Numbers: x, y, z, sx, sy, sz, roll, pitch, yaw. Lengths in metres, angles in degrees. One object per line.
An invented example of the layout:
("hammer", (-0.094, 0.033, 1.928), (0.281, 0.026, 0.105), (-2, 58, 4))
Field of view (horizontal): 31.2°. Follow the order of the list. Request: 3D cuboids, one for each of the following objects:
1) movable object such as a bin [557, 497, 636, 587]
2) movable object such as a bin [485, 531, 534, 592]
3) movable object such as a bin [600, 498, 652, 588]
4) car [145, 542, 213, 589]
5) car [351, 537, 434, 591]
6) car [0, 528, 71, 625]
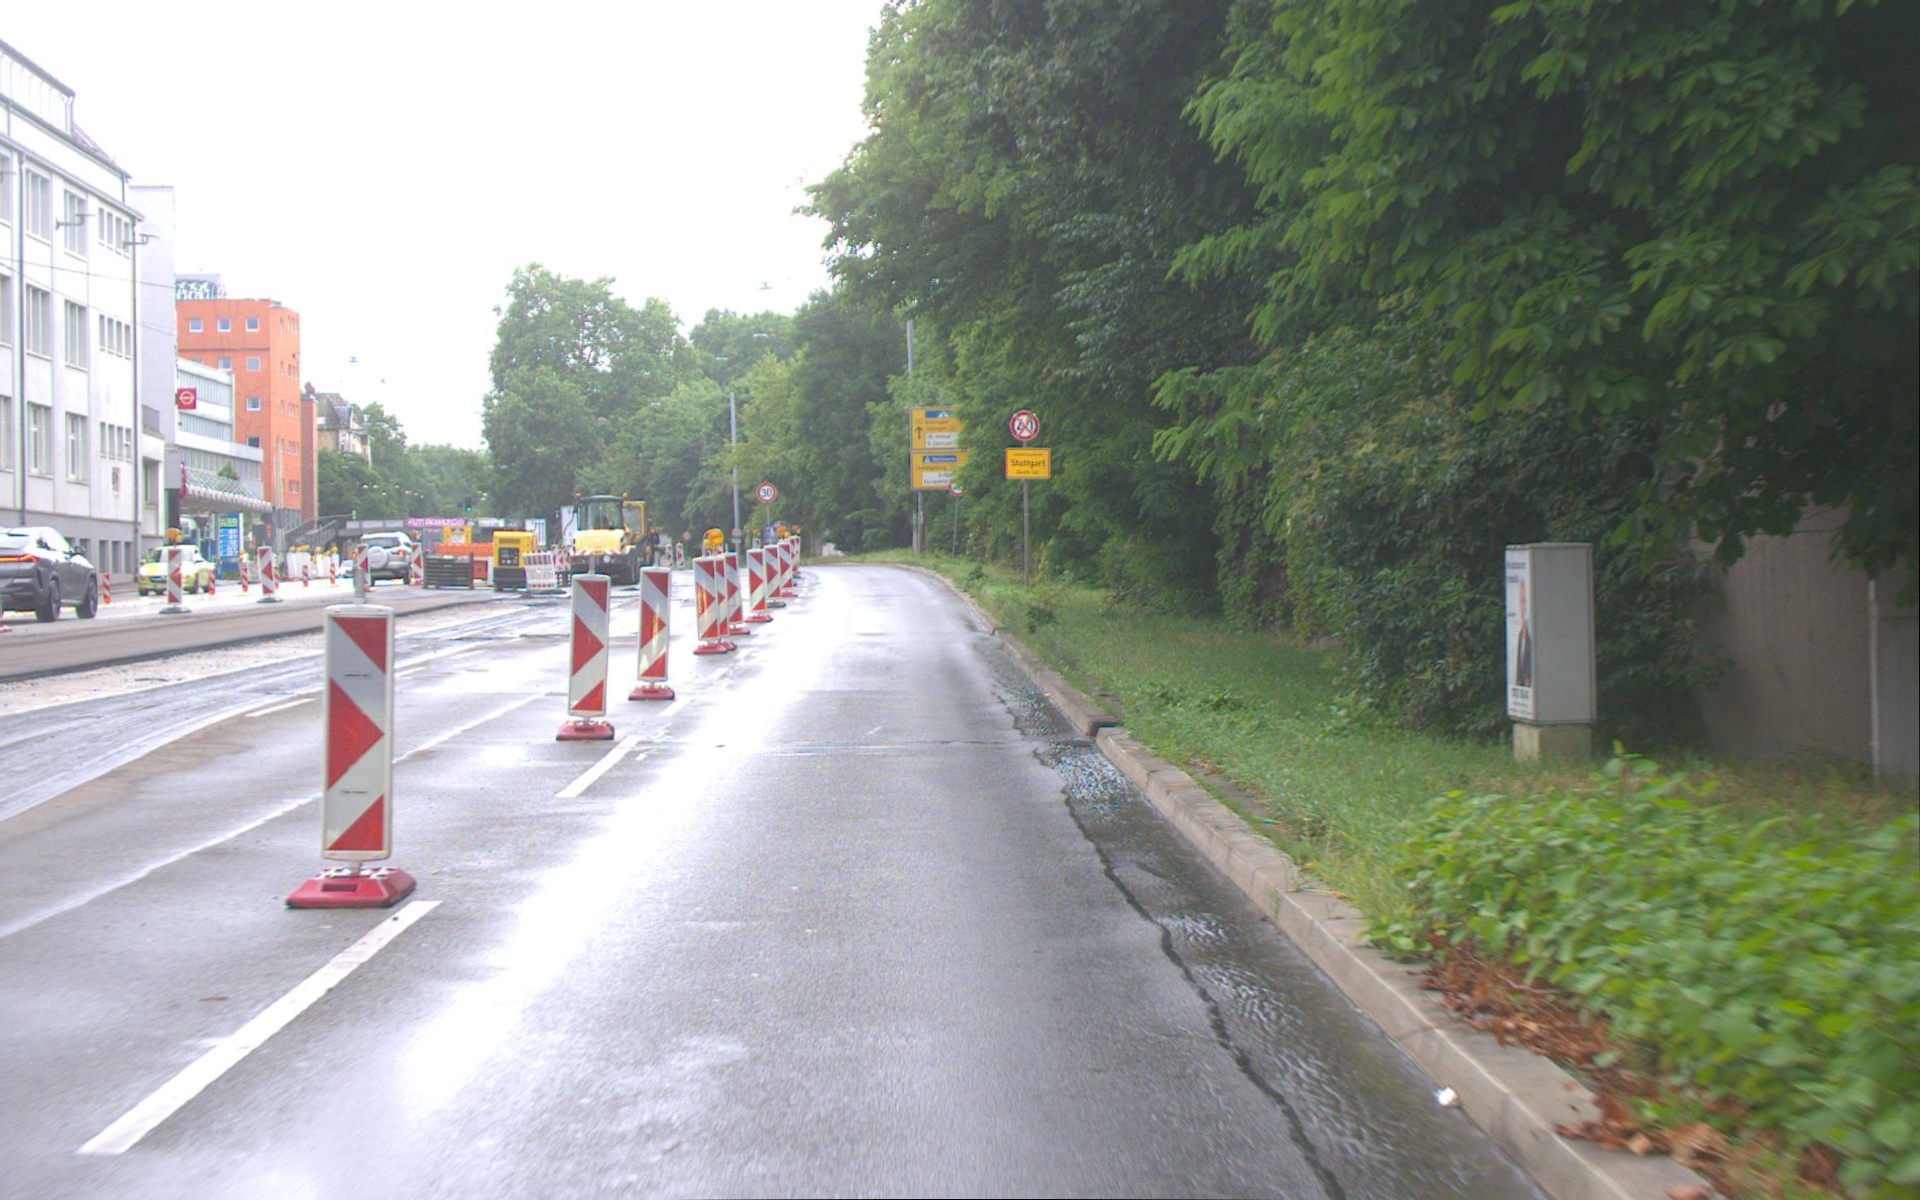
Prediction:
("movable object such as a bin", (-10.889, -1.750, 103.296), (1.902, 2.600, 5.383), (-1, 1, -2))
("movable object such as a bin", (-12.394, -1.063, 94.675), (1.083, 1.639, 2.439), (0, 1, -2))
("movable object such as a bin", (-11.526, -1.964, 118.767), (1.465, 2.998, 3.725), (-2, 1, -3))
("car", (-23.690, -1.046, 104.372), (1.553, 1.363, 3.806), (-2, 1, -7))
("car", (-17.532, -1.109, 106.337), (1.892, 1.644, 4.396), (0, 1, 0))
("car", (-17.138, -0.415, 60.484), (1.892, 1.644, 4.396), (0, 1, 0))
